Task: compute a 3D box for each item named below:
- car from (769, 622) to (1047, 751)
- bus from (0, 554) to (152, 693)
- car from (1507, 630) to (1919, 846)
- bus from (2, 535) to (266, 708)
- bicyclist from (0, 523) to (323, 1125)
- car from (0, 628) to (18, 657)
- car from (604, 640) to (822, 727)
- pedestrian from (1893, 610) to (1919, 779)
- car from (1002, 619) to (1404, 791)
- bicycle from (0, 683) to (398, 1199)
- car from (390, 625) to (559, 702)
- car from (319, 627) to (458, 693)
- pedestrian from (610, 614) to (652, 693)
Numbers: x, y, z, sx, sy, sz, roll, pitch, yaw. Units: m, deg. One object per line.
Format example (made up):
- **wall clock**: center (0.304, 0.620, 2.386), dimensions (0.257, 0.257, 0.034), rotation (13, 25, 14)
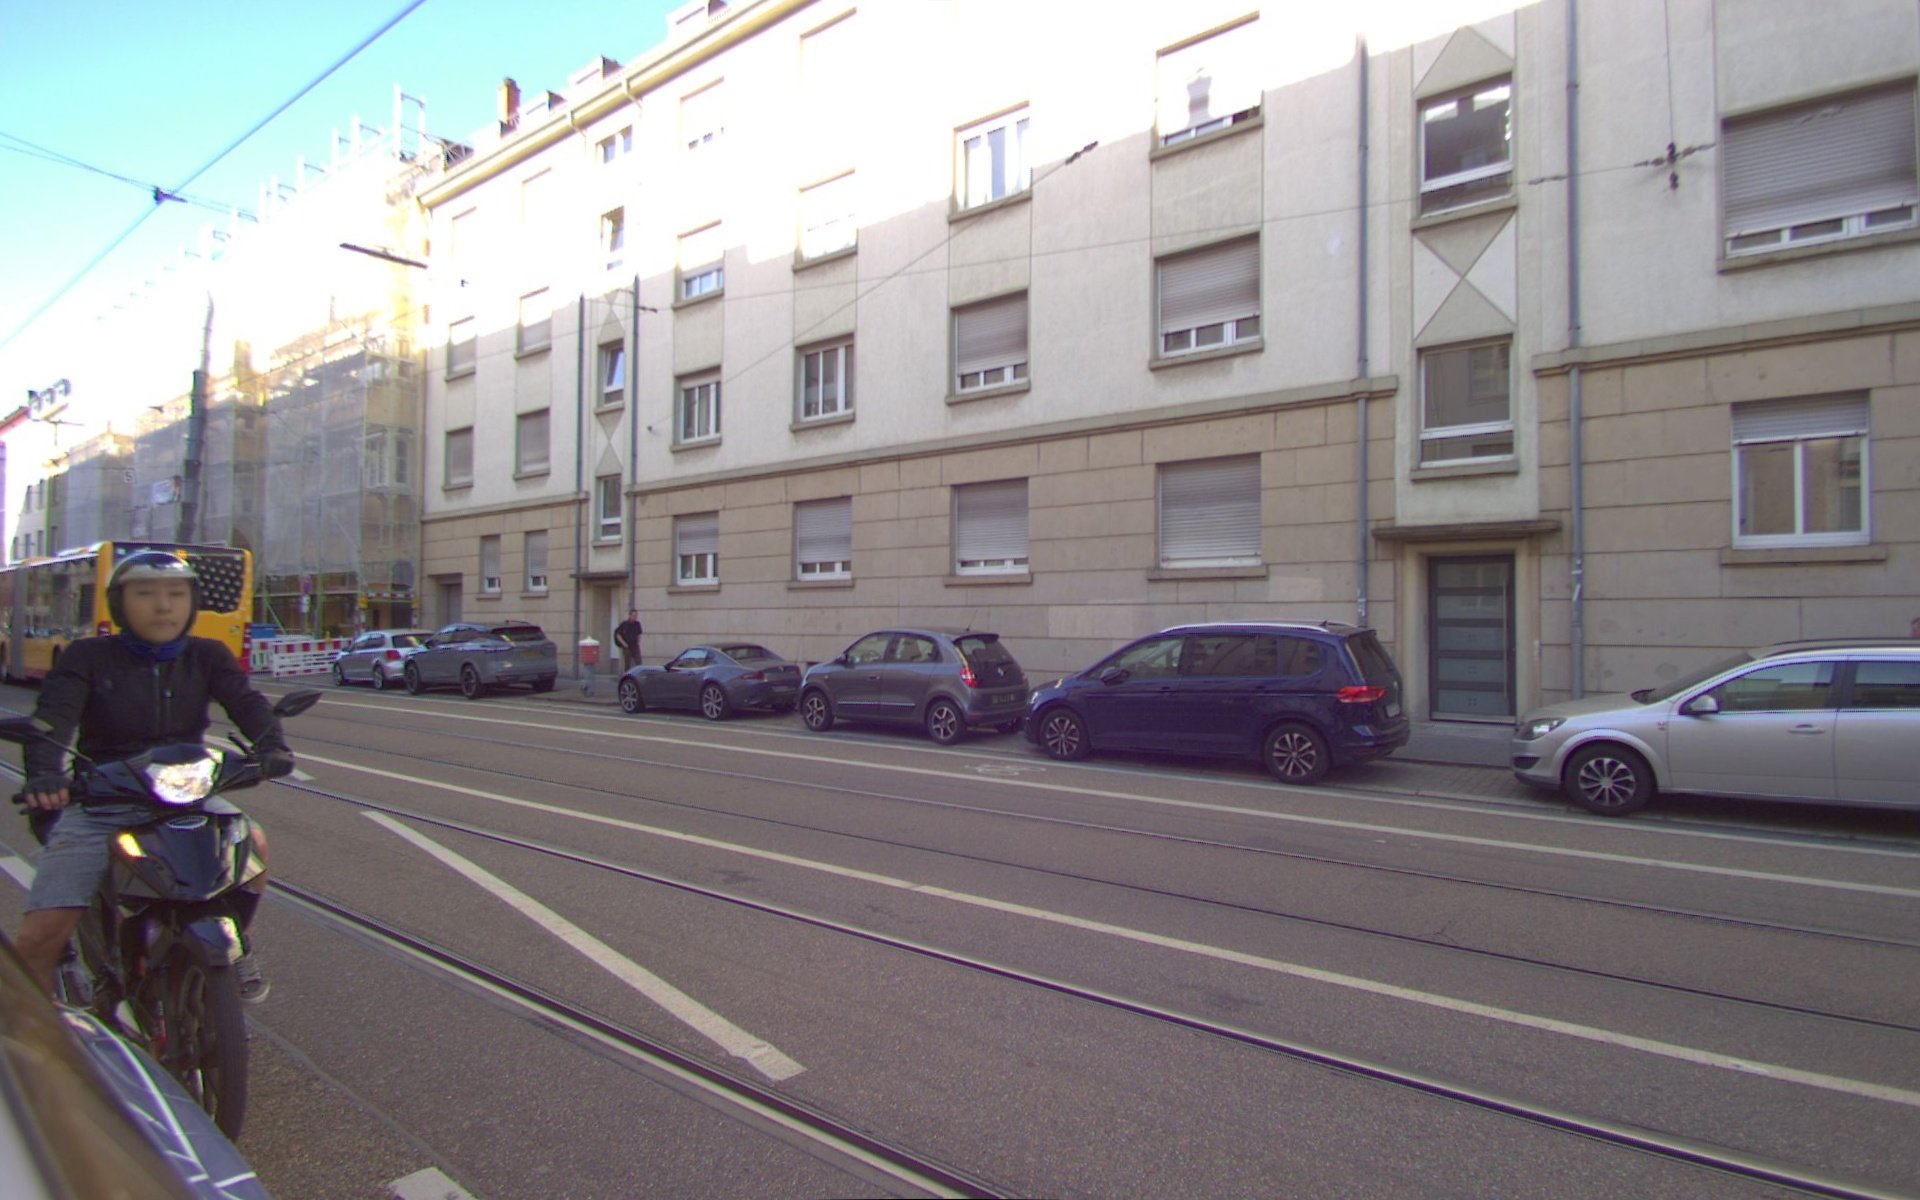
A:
- **car**: center (-0.845, 1.148, 14.850), dimensions (3.995, 1.581, 1.683), rotation (-1, 0, 39)
- **bus**: center (-25.112, 0.659, 27.397), dimensions (10.180, 3.182, 2.696), rotation (-1, -3, 38)
- **car**: center (7.162, 1.054, 8.429), dimensions (4.380, 1.521, 1.683), rotation (0, 0, 38)
- **bus**: center (-18.094, 0.499, 21.985), dimensions (7.565, 3.186, 2.712), rotation (-1, -3, 37)
- **bicyclist**: center (-2.644, 0.600, 3.164), dimensions (0.849, 1.566, 0.833), rotation (-1, -3, 38)
- **car**: center (-54.818, 2.410, 57.130), dimensions (4.216, 1.590, 1.682), rotation (-1, -1, 37)
- **car**: center (-4.331, 1.370, 17.563), dimensions (3.779, 1.225, 1.684), rotation (0, 0, 37)
- **pedestrian**: center (9.260, 0.875, 9.458), dimensions (0.721, 1.560, 0.690), rotation (-2, -3, 41)
- **car**: center (2.710, 1.051, 11.753), dimensions (4.235, 1.627, 1.684), rotation (0, 0, 36)
- **bicycle**: center (-2.583, 0.893, 3.136), dimensions (1.971, 1.186, 0.731), rotation (-1, -3, 38)
- **car**: center (-10.970, 1.363, 22.756), dimensions (4.400, 1.580, 1.683), rotation (-1, -3, 39)
- **car**: center (-14.548, 1.464, 25.690), dimensions (3.995, 1.426, 1.683), rotation (0, 1, 39)
- **pedestrian**: center (-7.221, 1.162, 22.234), dimensions (0.716, 1.707, 0.575), rotation (-1, -1, 38)
